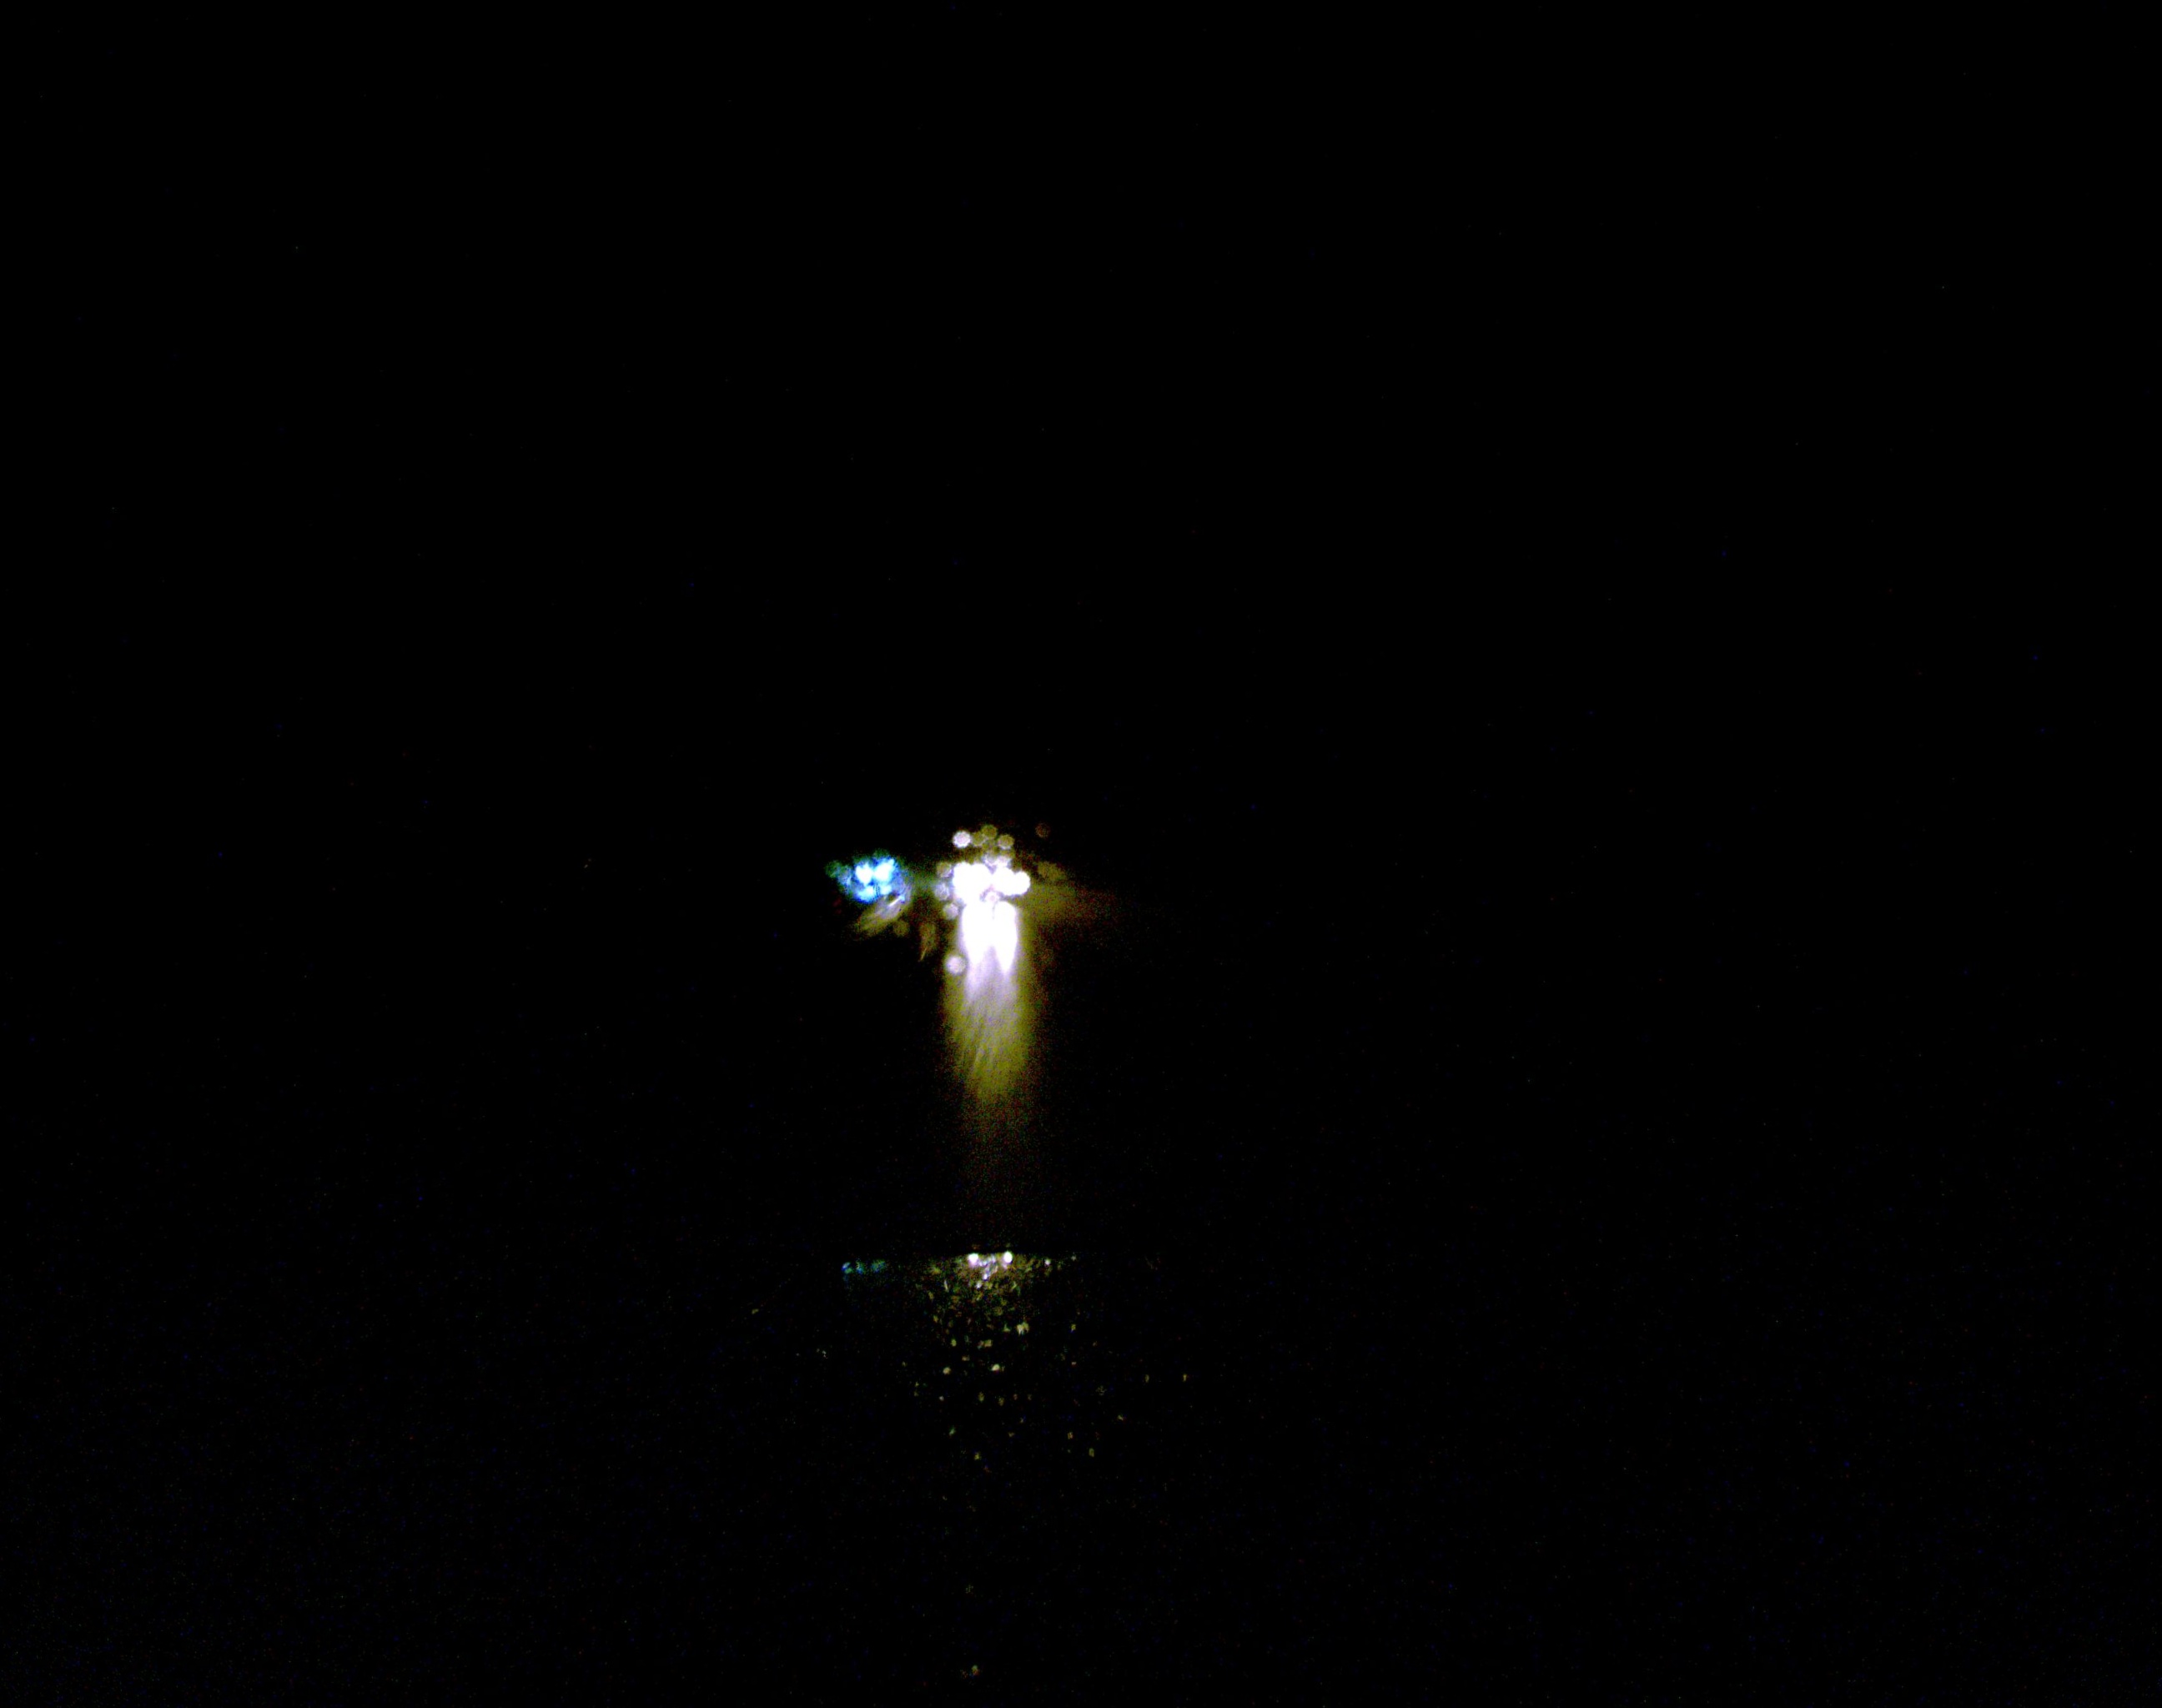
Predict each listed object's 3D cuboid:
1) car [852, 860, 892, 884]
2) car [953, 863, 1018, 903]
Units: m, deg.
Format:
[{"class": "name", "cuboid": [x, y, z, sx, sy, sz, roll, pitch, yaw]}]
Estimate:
[{"class": "car", "cuboid": [-14.972, 1.309, 54.315, 1.853, 1.440, 3.868, -4, -1, -28]}, {"class": "car", "cuboid": [-3.933, 1.114, 30.842, 1.852, 1.441, 3.994, -2, 0, -18]}]
